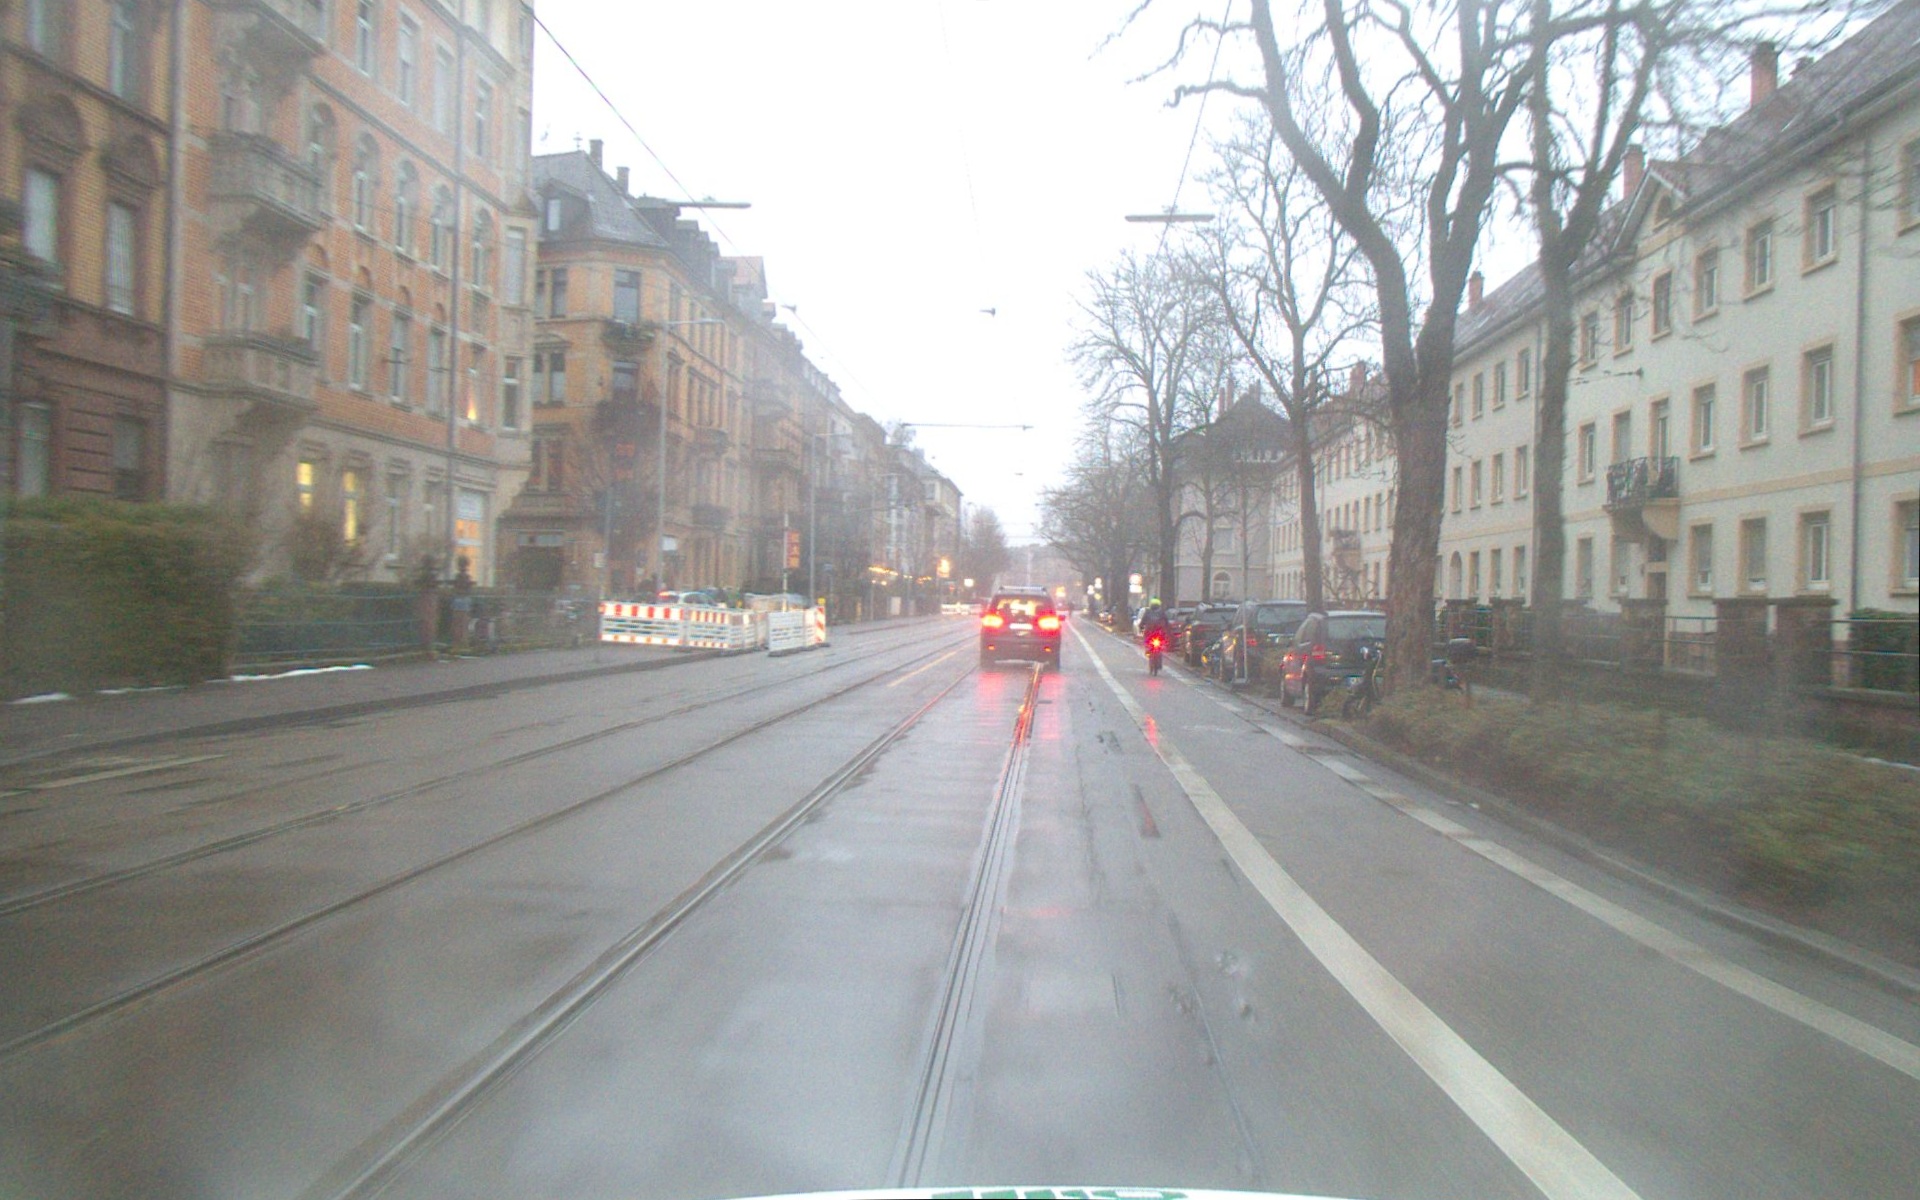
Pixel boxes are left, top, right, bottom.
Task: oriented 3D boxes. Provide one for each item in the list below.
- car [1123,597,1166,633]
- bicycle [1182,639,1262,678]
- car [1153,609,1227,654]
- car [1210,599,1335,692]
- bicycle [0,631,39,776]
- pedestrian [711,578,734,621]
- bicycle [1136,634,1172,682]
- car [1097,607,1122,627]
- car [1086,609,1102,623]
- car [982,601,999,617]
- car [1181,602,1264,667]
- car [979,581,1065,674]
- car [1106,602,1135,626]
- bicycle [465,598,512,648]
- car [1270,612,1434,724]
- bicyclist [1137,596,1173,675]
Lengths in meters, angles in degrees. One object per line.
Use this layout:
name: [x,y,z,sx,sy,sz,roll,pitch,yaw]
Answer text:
car: [8.292,0.668,74.738,1.748,1.536,4.110,2,0,4]
bicycle: [6.623,1.471,41.814,1.970,0.932,0.465,1,0,12]
car: [7.769,1.055,56.251,1.840,1.444,4.343,0,0,-1]
car: [6.473,0.905,34.770,1.866,1.758,4.904,2,0,3]
bicycle: [-7.024,0.708,10.913,0.664,0.989,1.934,2,0,4]
pedestrian: [-10.203,-0.027,71.088,0.711,1.804,0.762,2,0,-31]
bicycle: [4.447,1.322,37.979,0.716,1.024,1.765,2,0,4]
car: [11.776,1.316,130.267,1.748,1.536,4.110,2,0,3]
car: [15.325,1.842,188.957,1.748,1.536,4.110,2,0,3]
car: [3.581,1.011,193.255,1.883,1.750,4.002,2,0,3]
car: [7.151,0.917,45.403,1.865,1.638,4.563,2,0,5]
car: [1.464,0.608,38.532,1.765,1.903,4.019,5,0,2]
car: [10.881,0.939,112.258,1.748,1.536,4.110,2,0,3]
bicycle: [-9.310,0.445,32.691,0.258,0.930,1.686,7,0,3]
car: [5.998,0.984,25.748,1.748,1.536,3.989,2,0,3]
bicyclist: [4.475,0.801,38.004,0.715,1.767,0.766,2,0,4]
